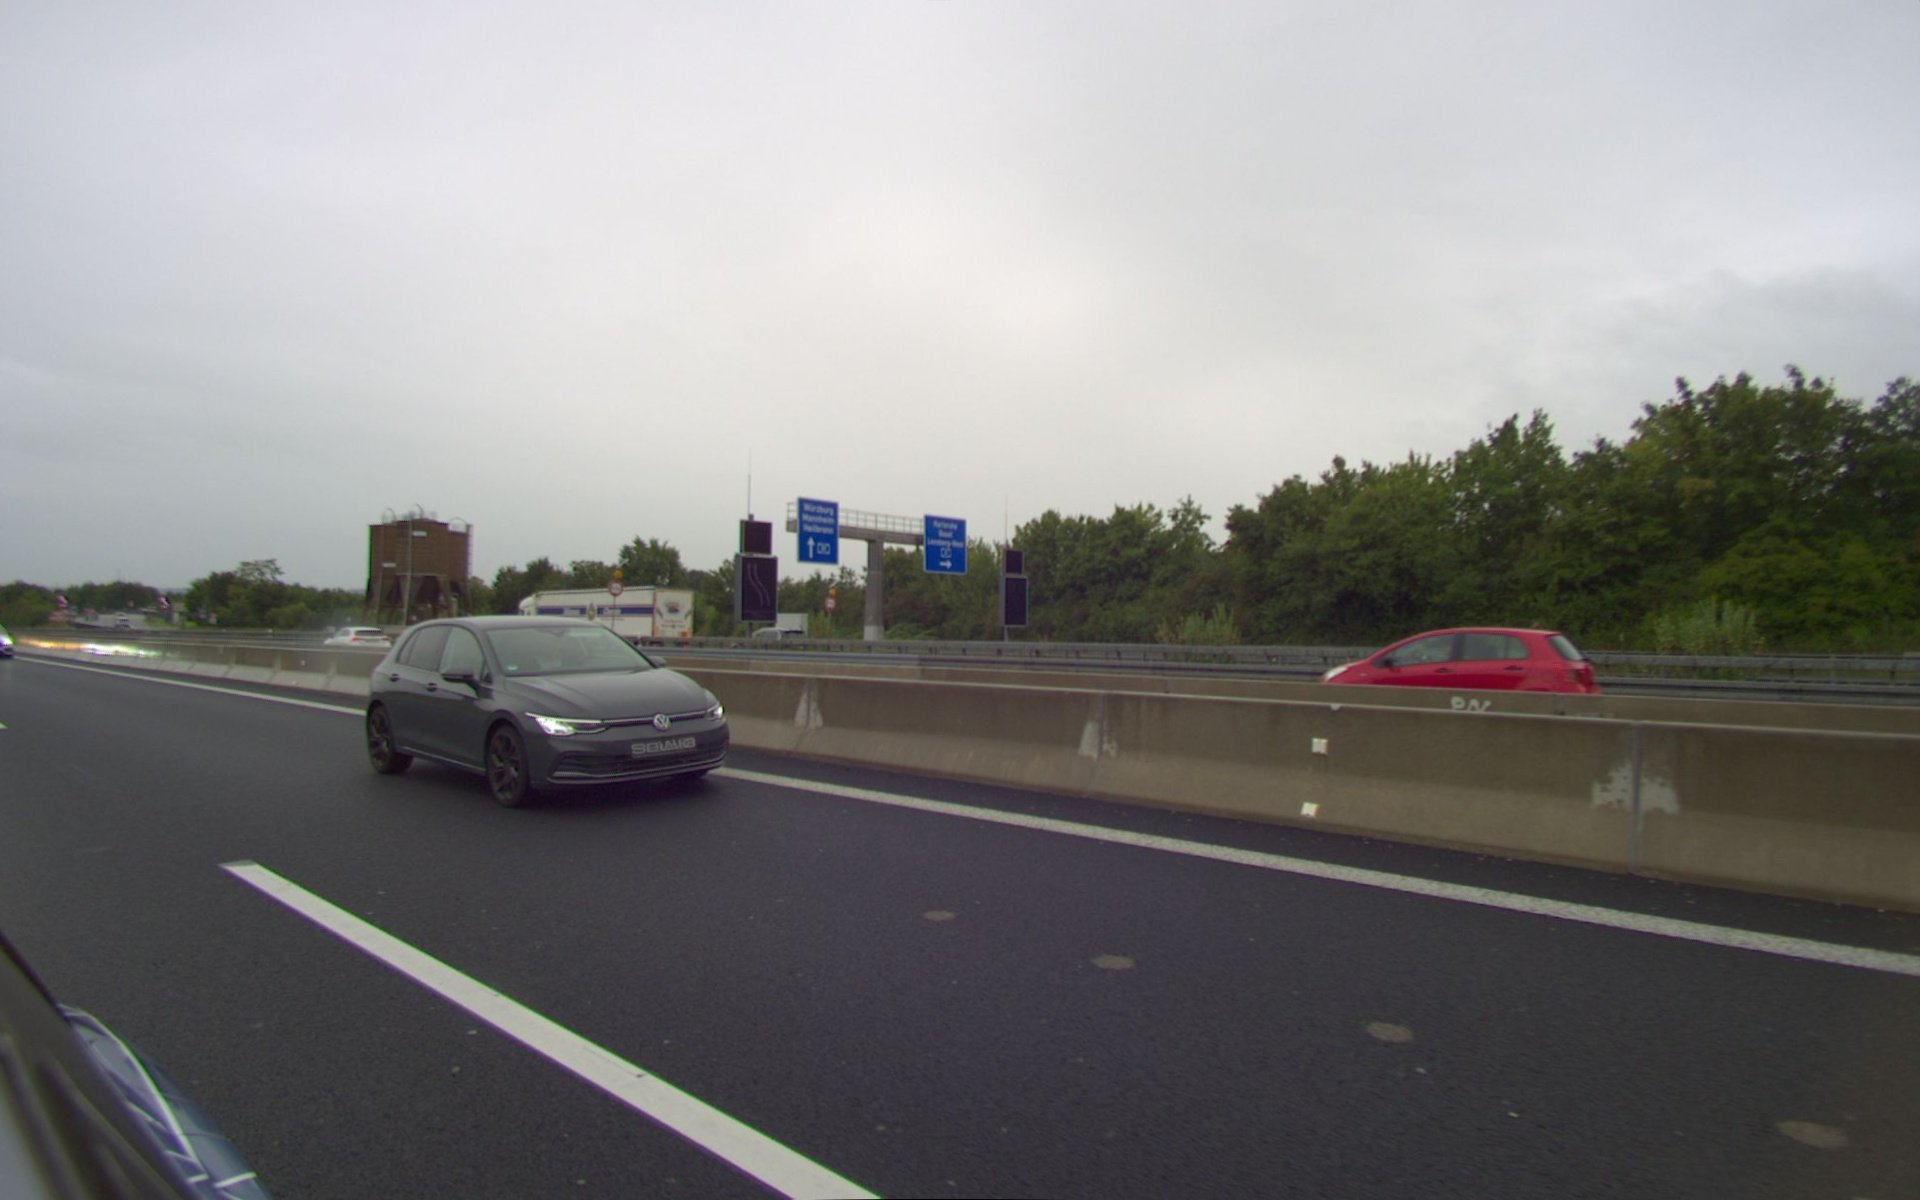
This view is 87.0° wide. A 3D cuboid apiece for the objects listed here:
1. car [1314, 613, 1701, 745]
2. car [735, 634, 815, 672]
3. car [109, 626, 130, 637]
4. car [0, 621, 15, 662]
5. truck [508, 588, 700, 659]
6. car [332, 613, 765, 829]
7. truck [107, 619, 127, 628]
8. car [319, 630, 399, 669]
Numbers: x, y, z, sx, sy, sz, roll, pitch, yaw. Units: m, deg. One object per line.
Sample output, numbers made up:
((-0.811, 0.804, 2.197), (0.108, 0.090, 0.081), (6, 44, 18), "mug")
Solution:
((7.612, 1.005, 14.377), (4.579, 1.564, 1.706), (-1, 0, 40), "car")
((-8.245, 2.319, 44.914), (1.553, 1.495, 4.051), (-1, 0, -43), "car")
((-141.138, 5.251, 169.956), (4.503, 1.775, 1.973), (-2, -2, 41), "car")
((-39.650, 1.670, 40.744), (4.816, 1.603, 1.972), (-2, -1, 43), "car")
((-22.147, 1.478, 61.783), (17.129, 3.838, 3.144), (-1, -4, 42), "truck")
((-3.822, 0.882, 9.001), (4.365, 1.436, 1.811), (-2, -1, 41), "car")
((-166.325, 4.628, 199.710), (5.400, 1.657, 1.974), (-1, 0, 40), "truck")
((-27.173, 2.188, 45.704), (4.314, 1.674, 1.972), (-2, -2, 43), "car")
